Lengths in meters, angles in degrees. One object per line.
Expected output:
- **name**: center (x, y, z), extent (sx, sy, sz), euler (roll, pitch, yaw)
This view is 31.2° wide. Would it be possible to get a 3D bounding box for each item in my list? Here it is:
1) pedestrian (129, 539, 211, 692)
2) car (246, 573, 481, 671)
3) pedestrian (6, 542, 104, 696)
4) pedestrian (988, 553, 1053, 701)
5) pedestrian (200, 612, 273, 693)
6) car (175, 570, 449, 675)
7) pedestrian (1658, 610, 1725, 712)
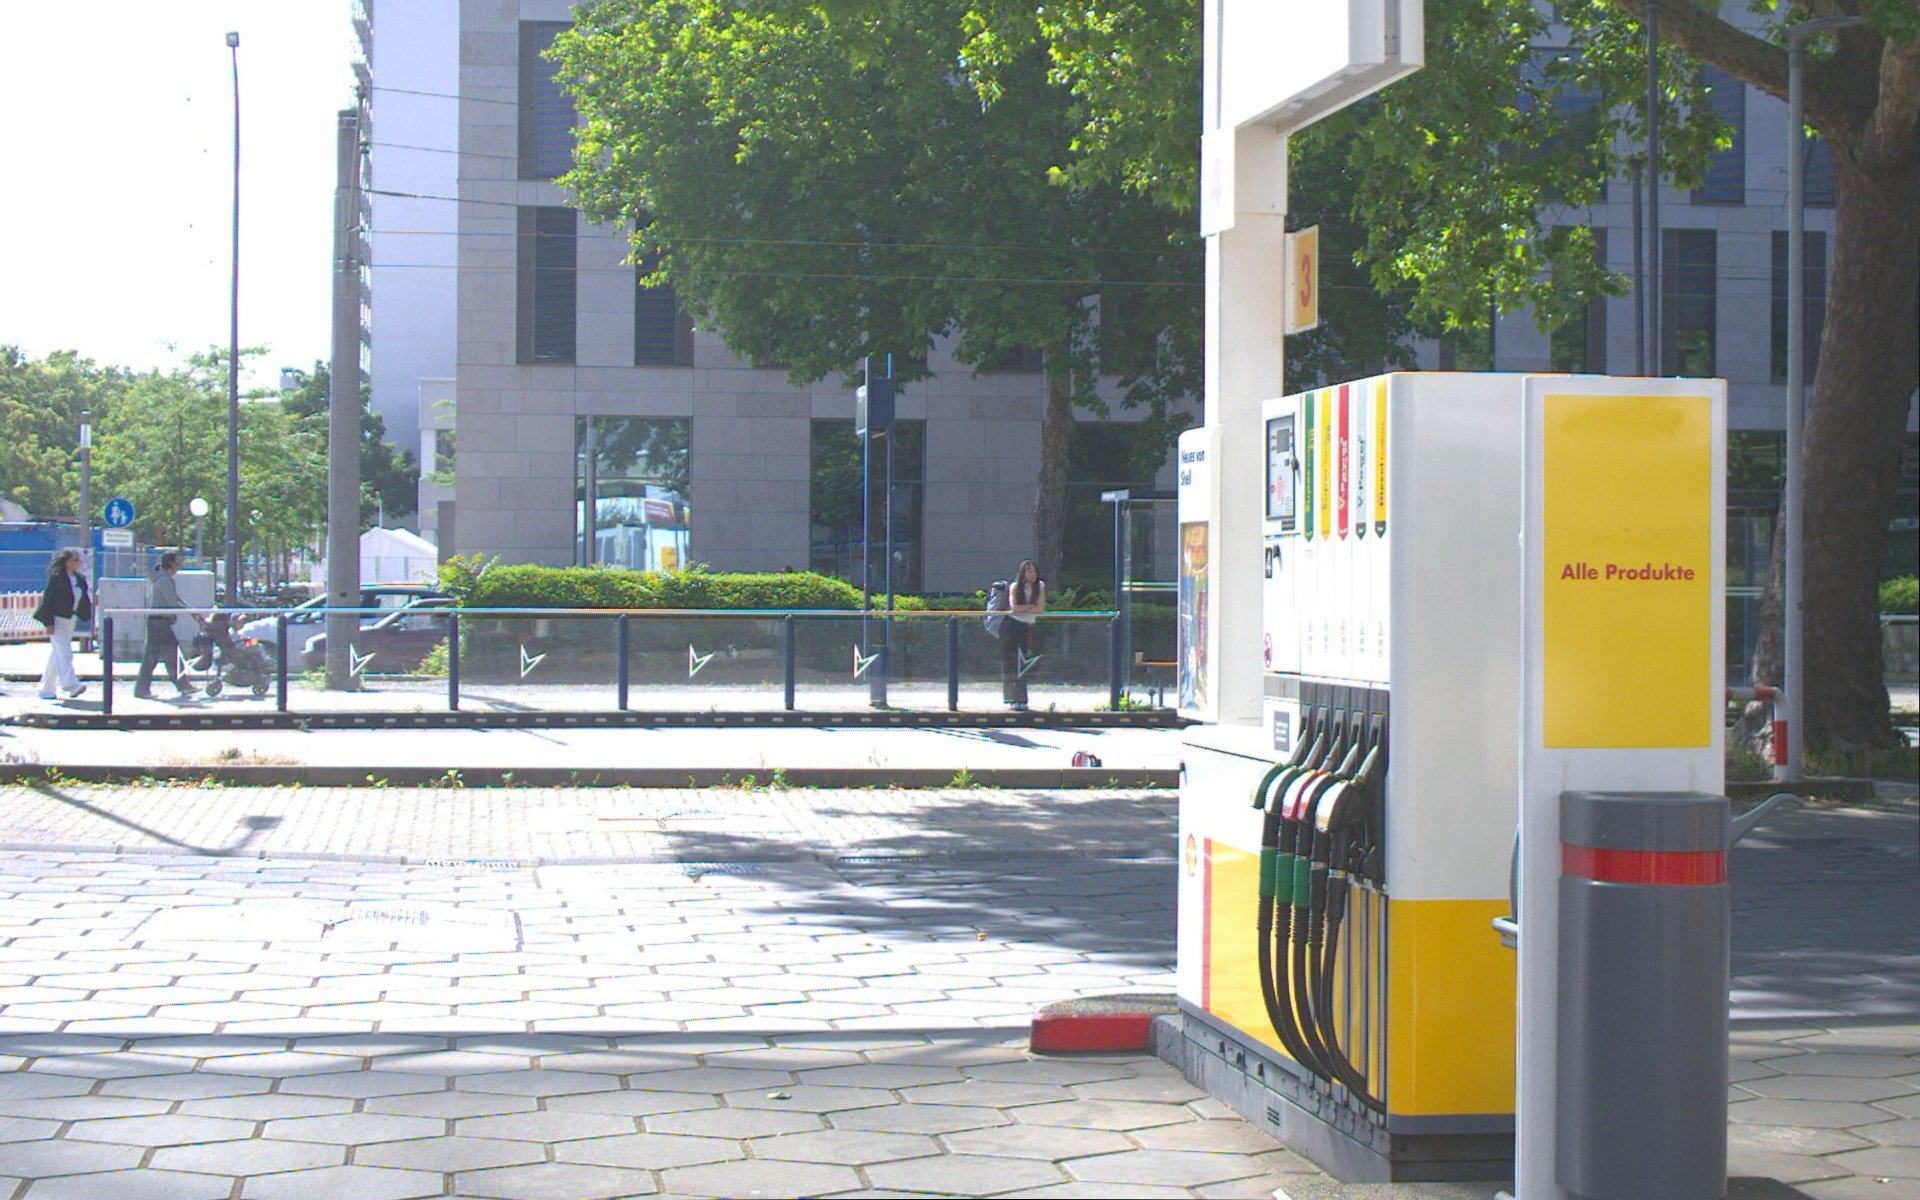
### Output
- **pedestrian**: center (-8.749, 0.170, 38.070), extent (0.777, 1.677, 0.503), euler (1, 0, 1)
- **car**: center (-9.763, 0.351, 56.158), extent (3.681, 1.547, 1.592), euler (0, 0, -13)
- **pedestrian**: center (-10.005, 0.203, 38.010), extent (0.932, 1.677, 0.503), euler (1, 0, 1)
- **pedestrian**: center (0.658, 0.288, 37.701), extent (0.584, 1.586, 0.670), euler (1, 2, -8)
- **pedestrian**: center (-8.011, 0.574, 38.063), extent (0.690, 0.877, 0.503), euler (1, 0, 1)
- **car**: center (-9.836, 0.333, 52.091), extent (3.986, 1.547, 1.704), euler (0, 0, -13)
- **pedestrian**: center (8.286, 0.685, 38.976), extent (0.628, 1.134, 0.524), euler (0, 0, -2)
